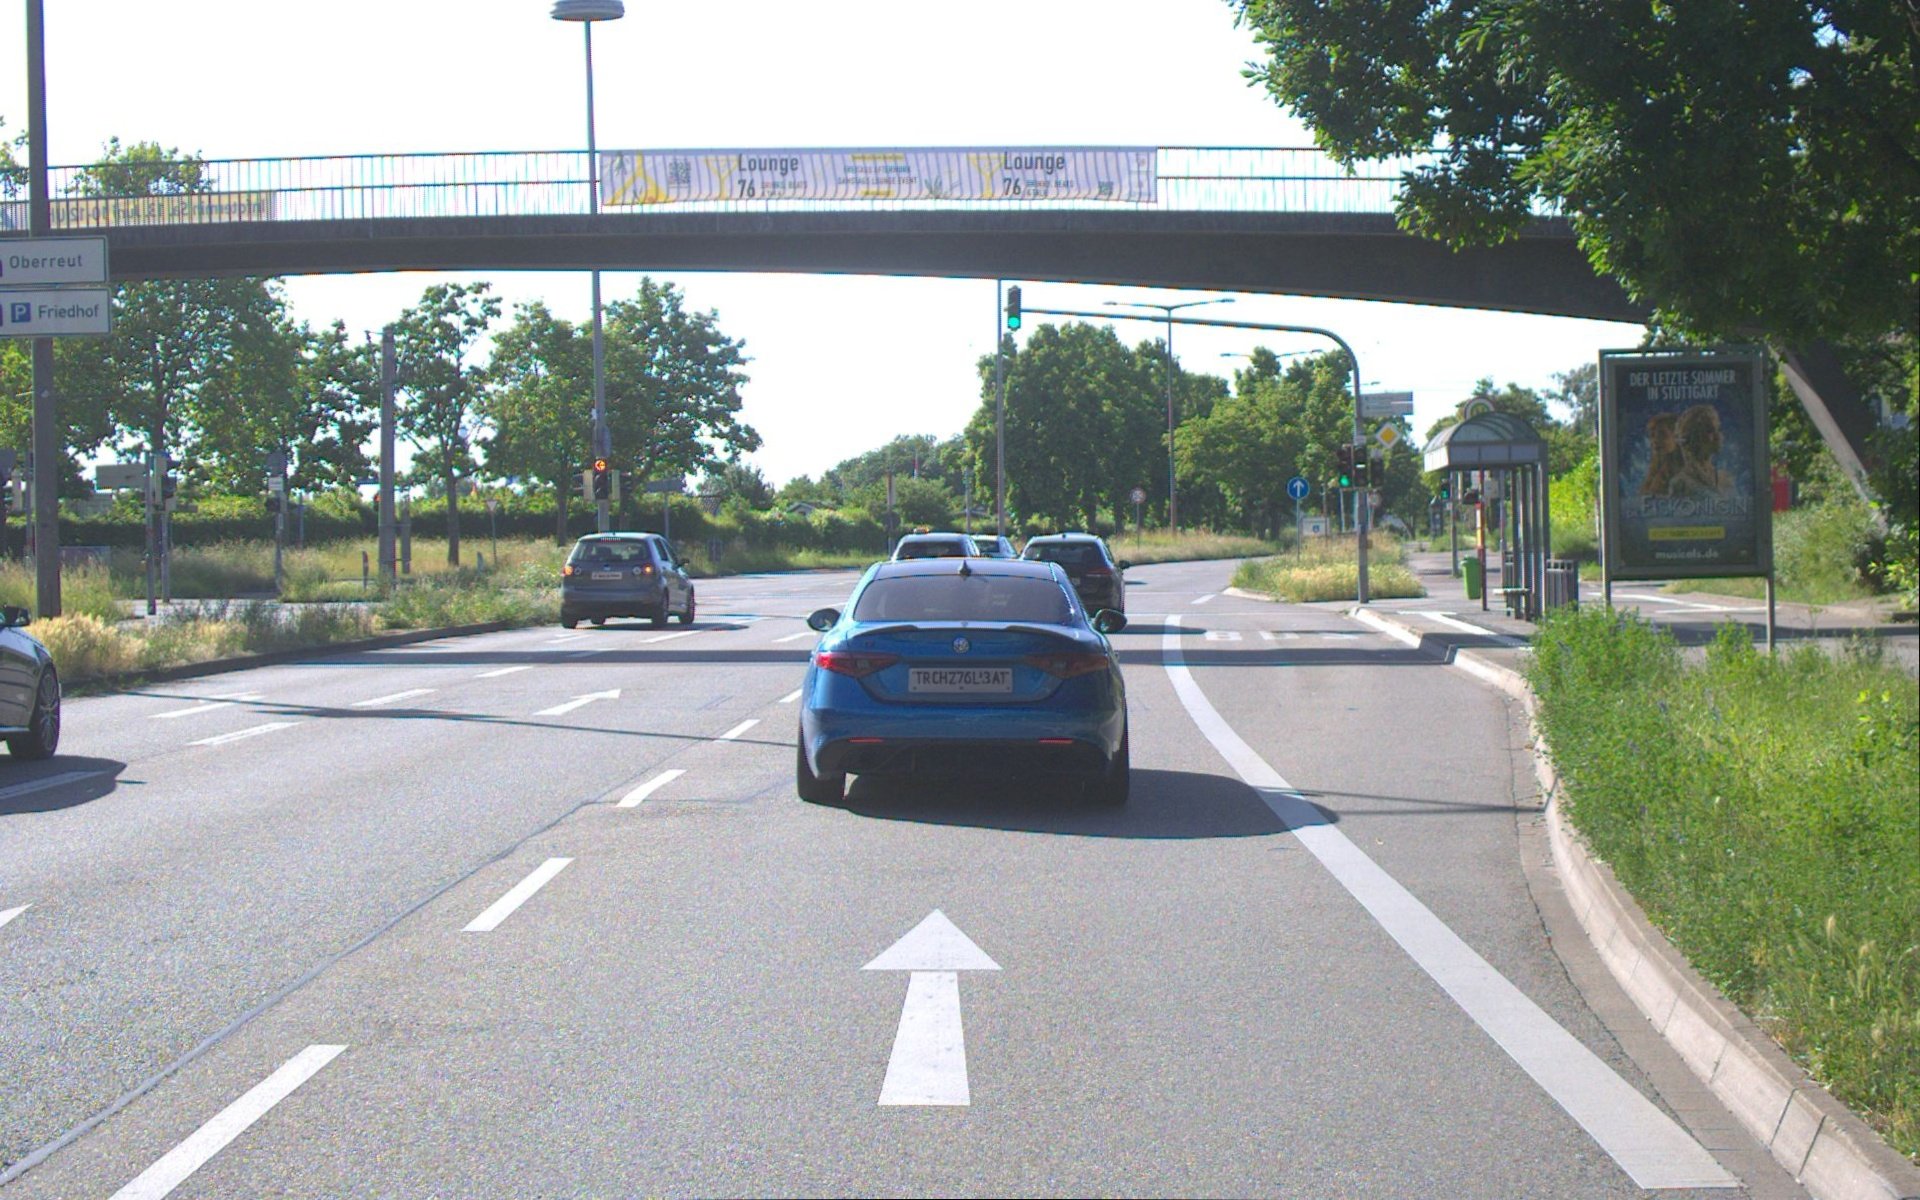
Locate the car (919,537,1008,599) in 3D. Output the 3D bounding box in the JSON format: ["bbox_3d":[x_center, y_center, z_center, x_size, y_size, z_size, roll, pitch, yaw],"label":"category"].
[{"bbox_3d":[0.049,-0.765,83.019,1.883,1.449,4.527,0,0,-3],"label":"car"}]

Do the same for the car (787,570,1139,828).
[{"bbox_3d":[-0.089,0.524,20.846,1.883,1.401,4.224,0,0,-3],"label":"car"}]

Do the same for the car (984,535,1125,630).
[{"bbox_3d":[1.472,-0.285,55.128,1.883,1.449,4.527,0,0,-3],"label":"car"}]

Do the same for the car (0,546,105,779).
[{"bbox_3d":[-7.074,0.410,21.799,1.959,1.478,4.918,-1,1,1],"label":"car"}]

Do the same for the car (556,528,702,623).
[{"bbox_3d":[-5.545,-0.415,58.040,1.797,1.550,3.729,0,0,5],"label":"car"}]

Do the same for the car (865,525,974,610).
[{"bbox_3d":[-0.817,-0.630,66.480,1.707,1.592,4.225,0,0,-6],"label":"car"}]
